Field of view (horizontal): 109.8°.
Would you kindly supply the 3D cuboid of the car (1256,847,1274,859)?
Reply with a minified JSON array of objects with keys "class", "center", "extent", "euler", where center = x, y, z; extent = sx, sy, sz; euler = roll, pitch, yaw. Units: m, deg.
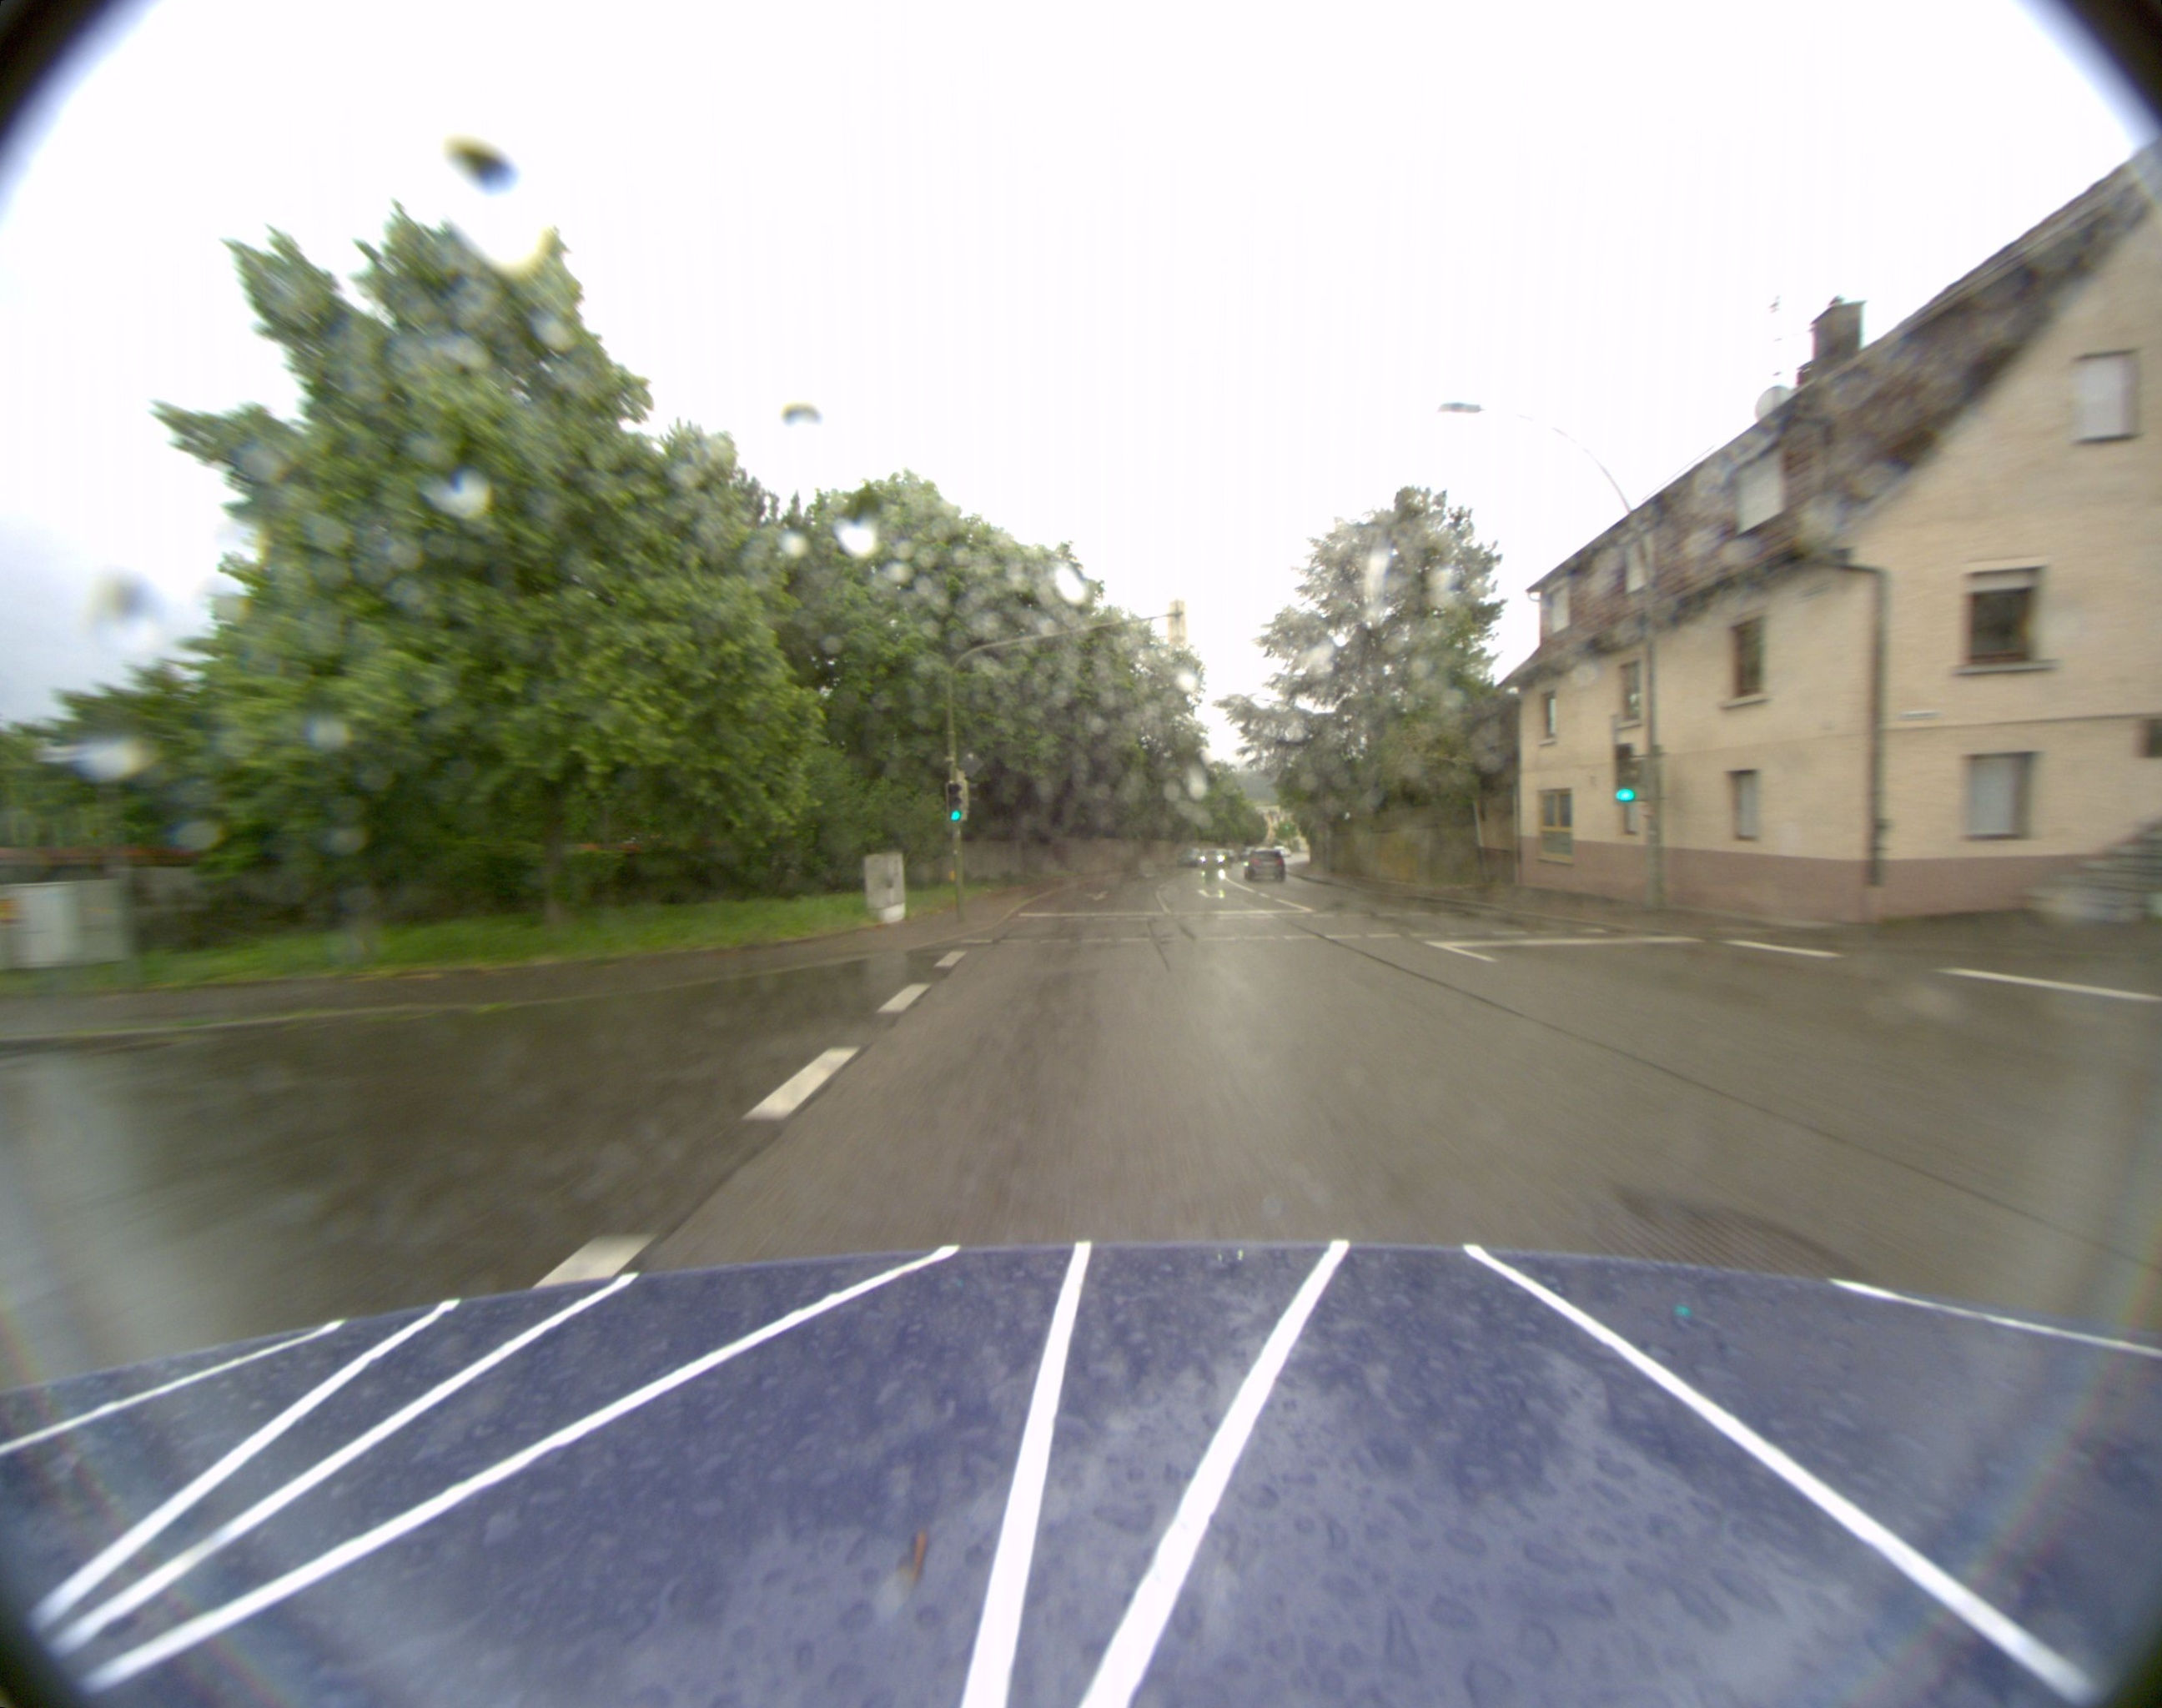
[{"class":"car","center":[24.906,-0.171,102.860],"extent":[1.830,1.620,4.160],"euler":[0,1,22]}]

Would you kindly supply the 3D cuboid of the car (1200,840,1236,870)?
[{"class":"car","center":[10.216,0.052,56.435],"extent":[1.996,2.002,4.004],"euler":[-1,2,18]}]

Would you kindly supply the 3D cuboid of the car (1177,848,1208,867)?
[{"class":"car","center":[9.129,0.262,62.177],"extent":[1.791,1.524,3.805],"euler":[0,1,20]}]

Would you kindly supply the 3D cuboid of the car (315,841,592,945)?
[{"class":"car","center":[-10.202,0.540,12.361],"extent":[3.990,1.447,1.857],"euler":[0,1,24]}]

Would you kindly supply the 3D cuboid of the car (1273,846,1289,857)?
[{"class":"car","center":[32.479,-0.429,123.325],"extent":[1.946,1.783,4.192],"euler":[0,1,21]}]

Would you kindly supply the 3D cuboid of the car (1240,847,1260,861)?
[{"class":"car","center":[20.172,-0.033,90.701],"extent":[1.831,1.620,4.159],"euler":[0,1,20]}]

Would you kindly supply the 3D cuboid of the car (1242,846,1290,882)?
[{"class":"car","center":[9.290,0.453,38.399],"extent":[1.997,1.696,4.002],"euler":[-1,0,8]}]
